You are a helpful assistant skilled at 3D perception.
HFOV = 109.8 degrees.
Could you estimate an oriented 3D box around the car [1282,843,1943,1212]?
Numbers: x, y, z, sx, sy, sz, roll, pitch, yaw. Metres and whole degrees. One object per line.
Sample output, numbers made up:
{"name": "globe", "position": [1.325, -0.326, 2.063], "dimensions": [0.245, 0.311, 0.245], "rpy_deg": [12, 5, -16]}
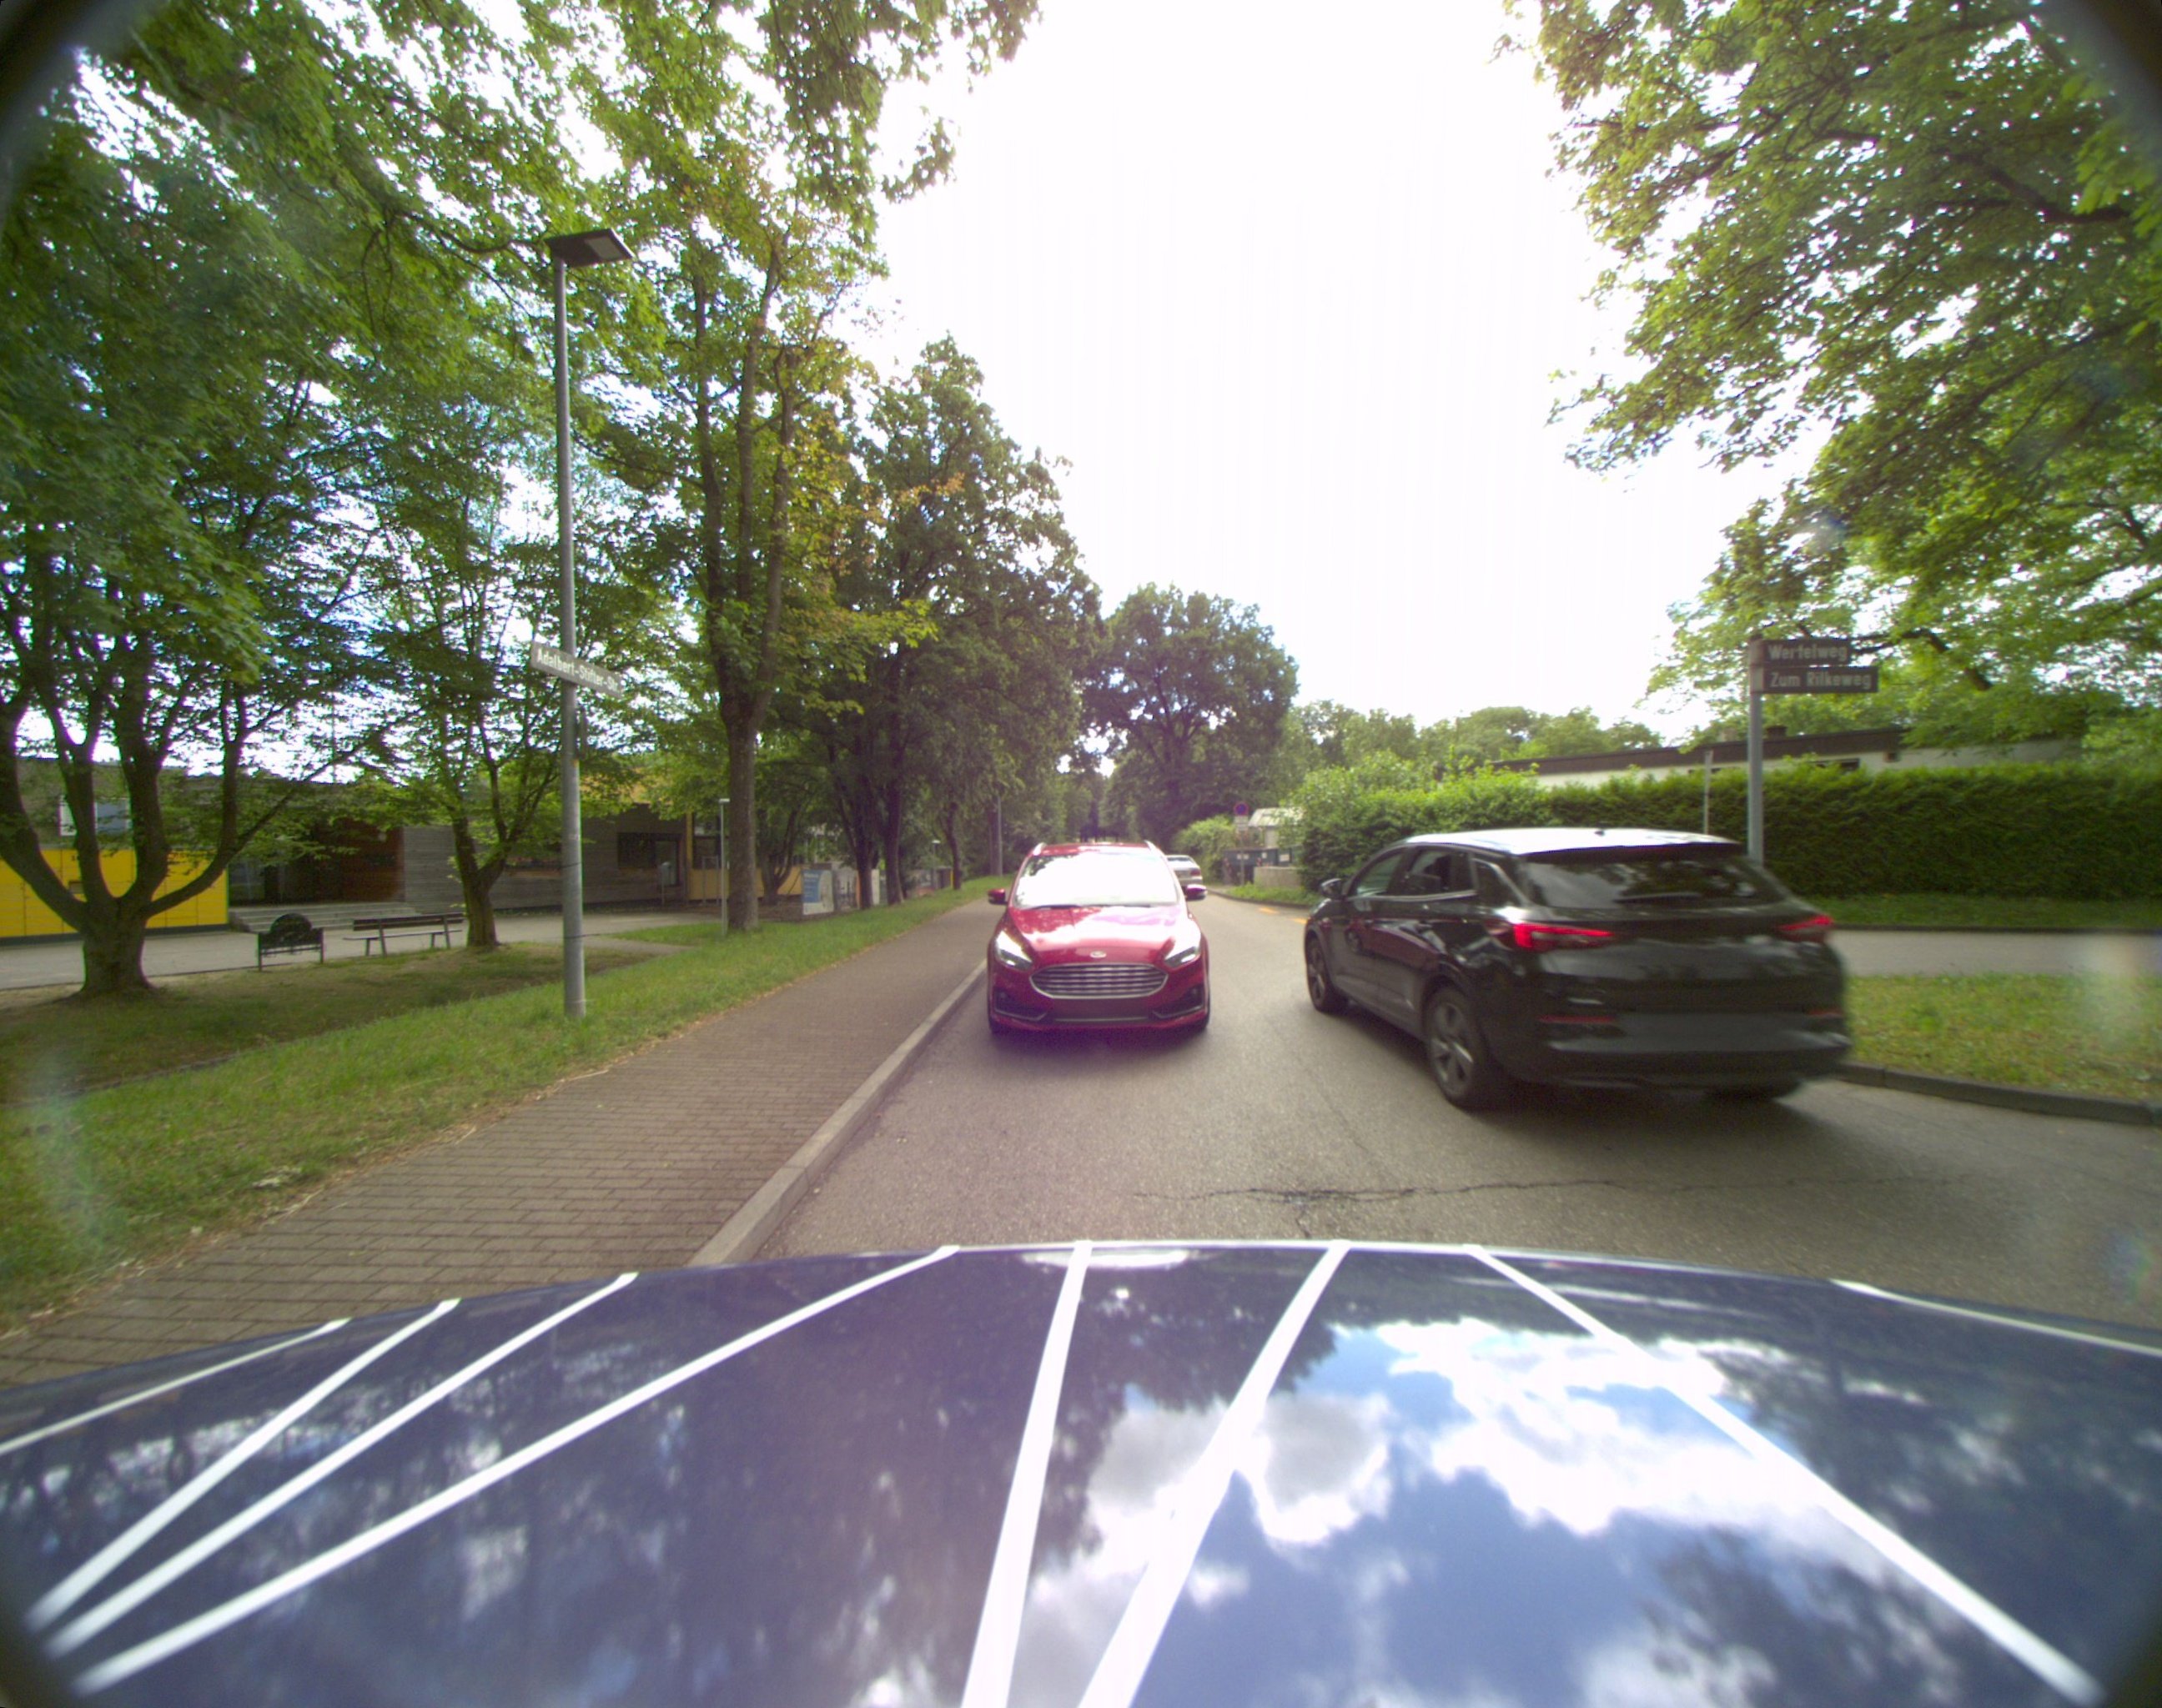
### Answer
{"name": "car", "position": [2.892, 0.761, 5.476], "dimensions": [1.807, 1.582, 4.296], "rpy_deg": [-2, 0, 1]}

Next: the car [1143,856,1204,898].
{"name": "car", "position": [3.167, 0.763, 26.768], "dimensions": [1.785, 1.299, 4.296], "rpy_deg": [-2, 0, 3]}

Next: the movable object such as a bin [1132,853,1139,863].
{"name": "movable object such as a bin", "position": [5.435, 0.394, 75.909], "dimensions": [0.649, 1.007, 0.632], "rpy_deg": [1, 2, 16]}

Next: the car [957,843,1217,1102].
{"name": "car", "position": [0.227, 0.803, 7.376], "dimensions": [1.816, 1.718, 4.001], "rpy_deg": [1, 2, 6]}
